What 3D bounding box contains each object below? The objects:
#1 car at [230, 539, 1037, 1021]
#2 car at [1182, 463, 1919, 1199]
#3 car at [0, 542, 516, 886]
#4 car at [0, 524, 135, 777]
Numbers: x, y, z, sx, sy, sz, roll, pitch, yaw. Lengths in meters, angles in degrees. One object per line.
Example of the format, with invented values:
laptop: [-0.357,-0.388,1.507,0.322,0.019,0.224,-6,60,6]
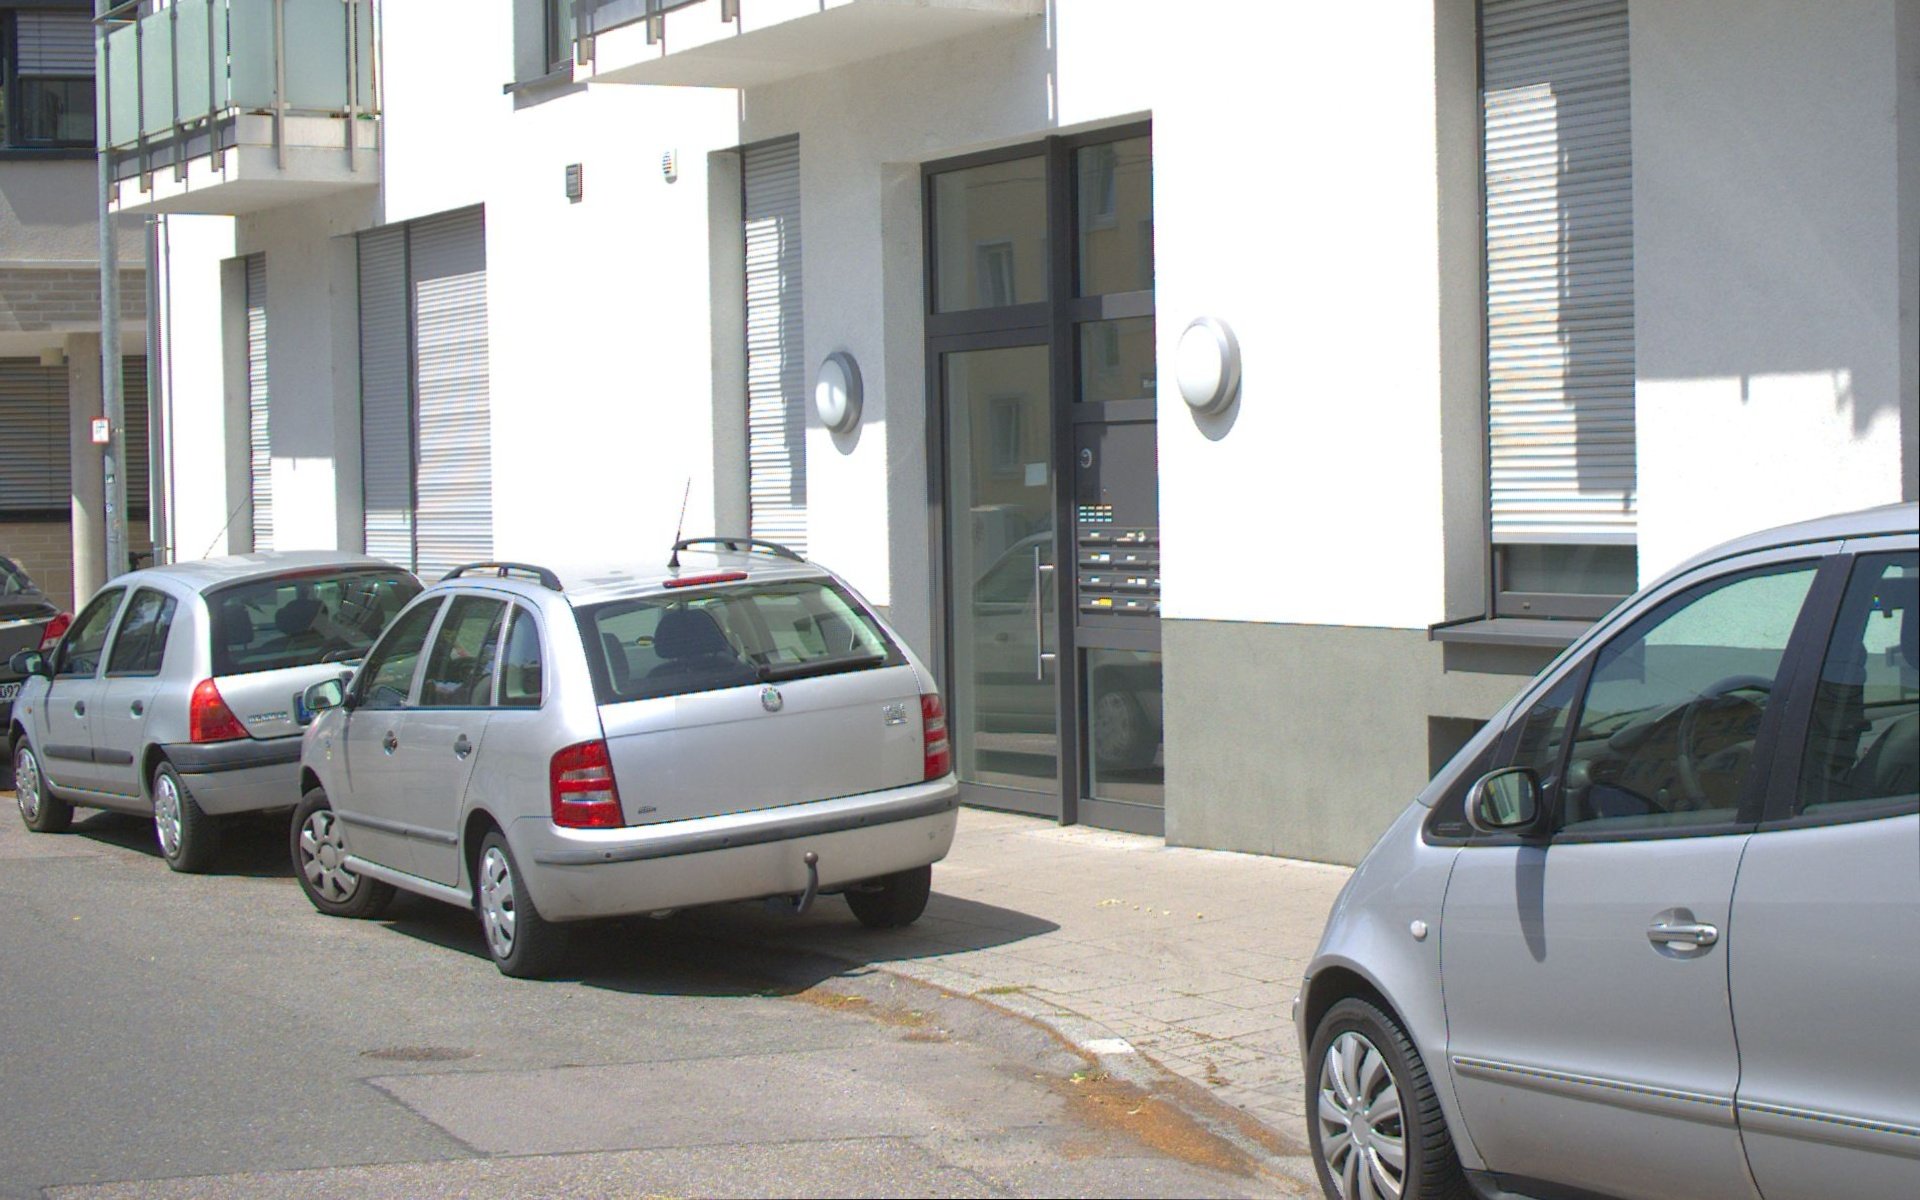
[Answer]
car: [-1.436,0.550,13.376,1.727,1.428,4.043,-6,3,-26]
car: [2.084,0.546,6.496,1.726,1.605,3.801,-4,2,-23]
car: [-3.778,0.495,17.550,1.593,1.428,3.707,-6,4,-30]
car: [-7.237,0.338,23.231,1.800,1.504,4.547,-6,4,-31]
